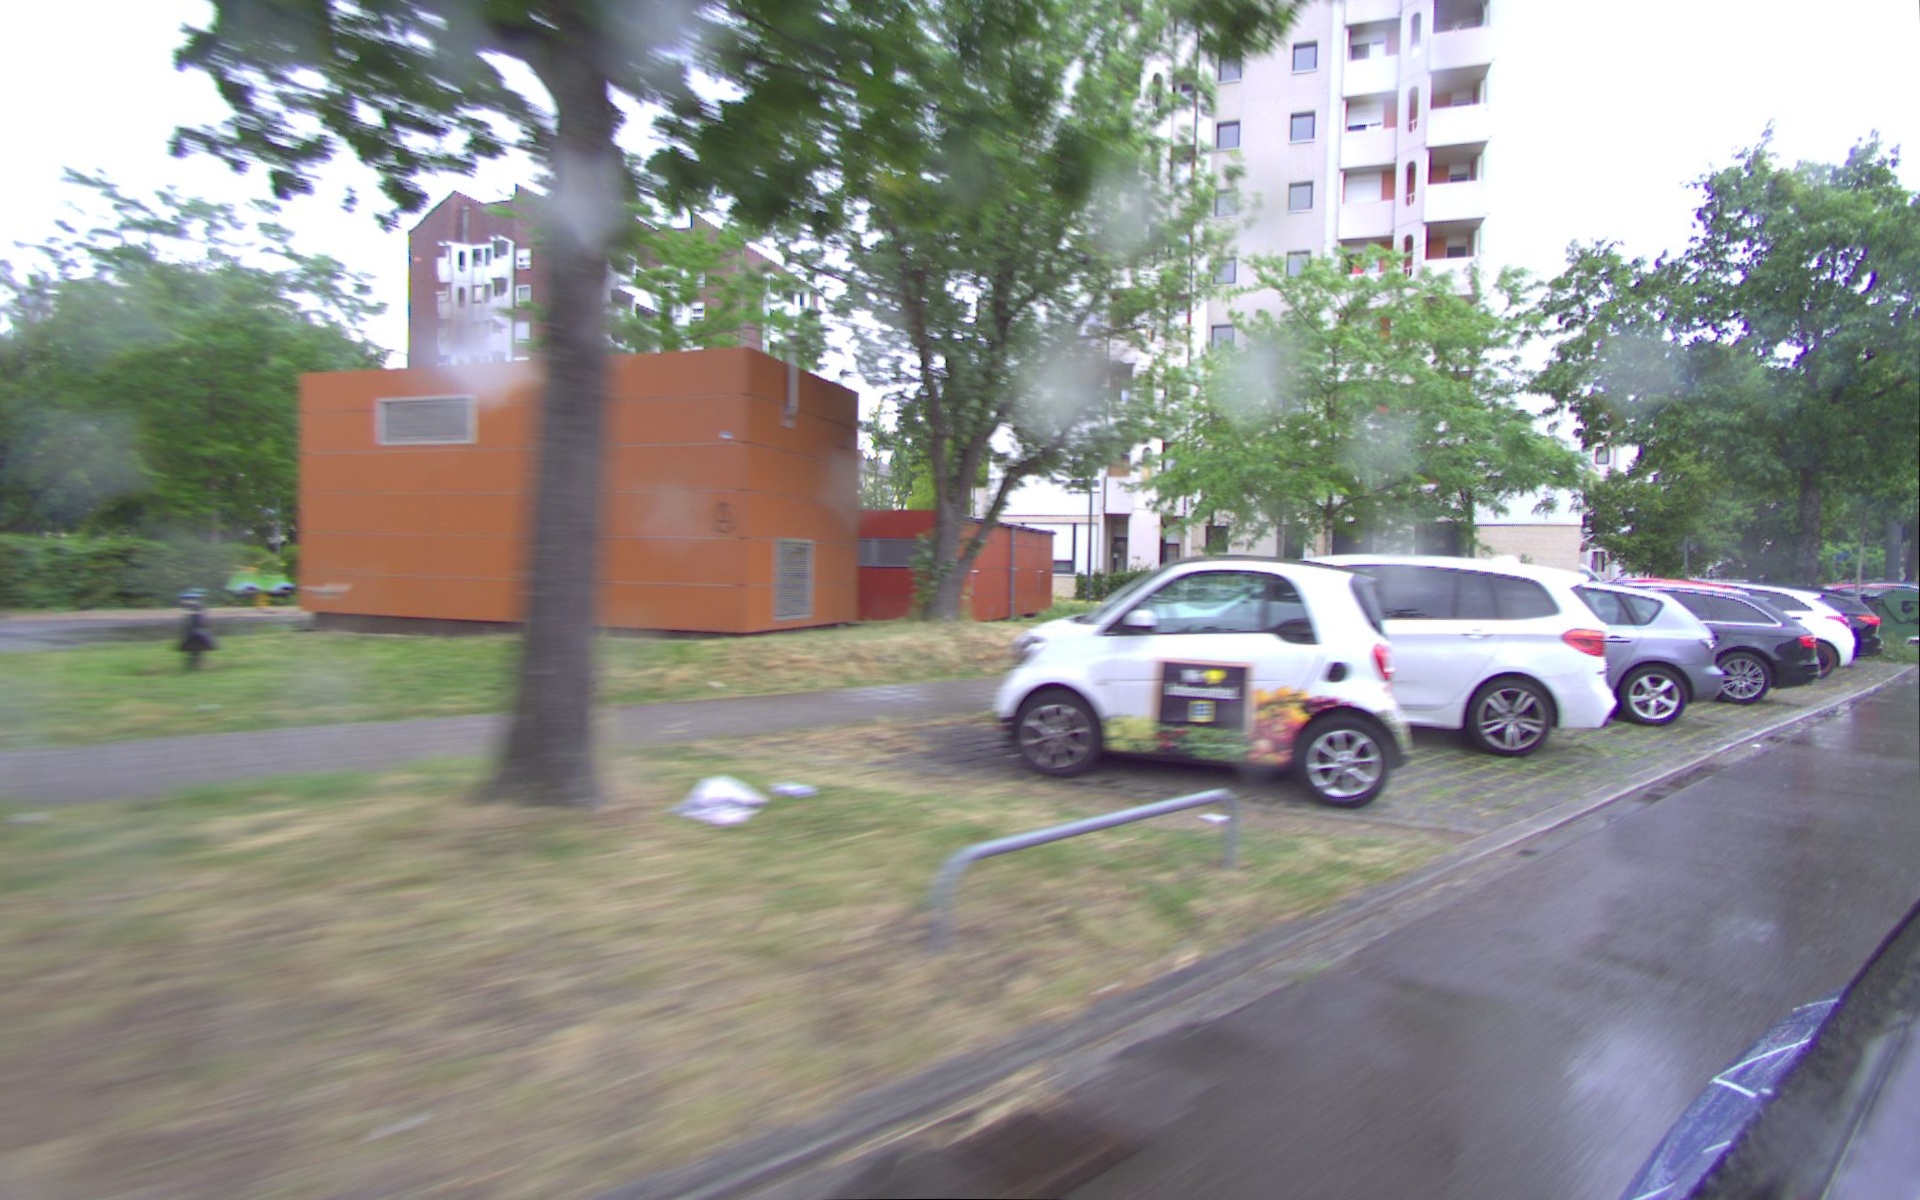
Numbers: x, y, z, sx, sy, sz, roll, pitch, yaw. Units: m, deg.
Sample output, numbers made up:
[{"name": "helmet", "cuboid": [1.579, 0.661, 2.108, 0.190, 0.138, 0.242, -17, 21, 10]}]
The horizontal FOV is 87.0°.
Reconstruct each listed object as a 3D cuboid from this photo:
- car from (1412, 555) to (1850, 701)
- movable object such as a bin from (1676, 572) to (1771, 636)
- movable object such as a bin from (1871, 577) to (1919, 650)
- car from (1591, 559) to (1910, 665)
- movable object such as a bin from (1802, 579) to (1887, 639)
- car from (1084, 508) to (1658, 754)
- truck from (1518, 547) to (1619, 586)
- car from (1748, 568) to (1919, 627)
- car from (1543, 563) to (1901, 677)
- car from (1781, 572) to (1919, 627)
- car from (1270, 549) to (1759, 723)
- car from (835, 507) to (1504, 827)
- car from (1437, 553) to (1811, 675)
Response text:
[{"name": "car", "cuboid": [8.548, 0.275, 13.372, 4.400, 1.445, 1.677, 5, 3, 16]}, {"name": "movable object such as a bin", "cuboid": [17.884, 0.071, 23.740, 1.344, 1.439, 1.185, 0, 2, 8]}, {"name": "movable object such as a bin", "cuboid": [21.289, 0.285, 22.520, 1.152, 1.581, 1.363, 1, 2, 26]}, {"name": "car", "cuboid": [15.005, 0.161, 19.522, 4.403, 1.560, 1.676, 5, 5, 18]}, {"name": "movable object such as a bin", "cuboid": [20.378, 0.180, 23.348, 0.981, 1.329, 1.183, 0, 2, 12]}, {"name": "car", "cuboid": [3.442, 0.174, 9.297, 4.391, 1.691, 1.808, 4, 3, 10]}, {"name": "truck", "cuboid": [40.000, -2.199, 66.665, 5.632, 2.468, 2.101, 1, 2, 32]}, {"name": "car", "cuboid": [27.183, -0.093, 31.285, 3.988, 1.506, 1.718, 4, 3, 14]}, {"name": "car", "cuboid": [12.729, 0.261, 17.257, 4.399, 1.482, 1.812, 5, 3, 15]}, {"name": "car", "cuboid": [29.601, -0.039, 33.001, 3.987, 1.706, 1.718, 1, 2, 14]}, {"name": "car", "cuboid": [5.871, 0.290, 11.366, 4.398, 1.427, 1.760, 5, 3, 15]}, {"name": "car", "cuboid": [1.360, 0.330, 7.346, 4.124, 1.691, 1.679, 4, 3, 13]}, {"name": "car", "cuboid": [10.095, 0.141, 15.764, 4.392, 1.445, 1.804, 4, 3, 12]}]
